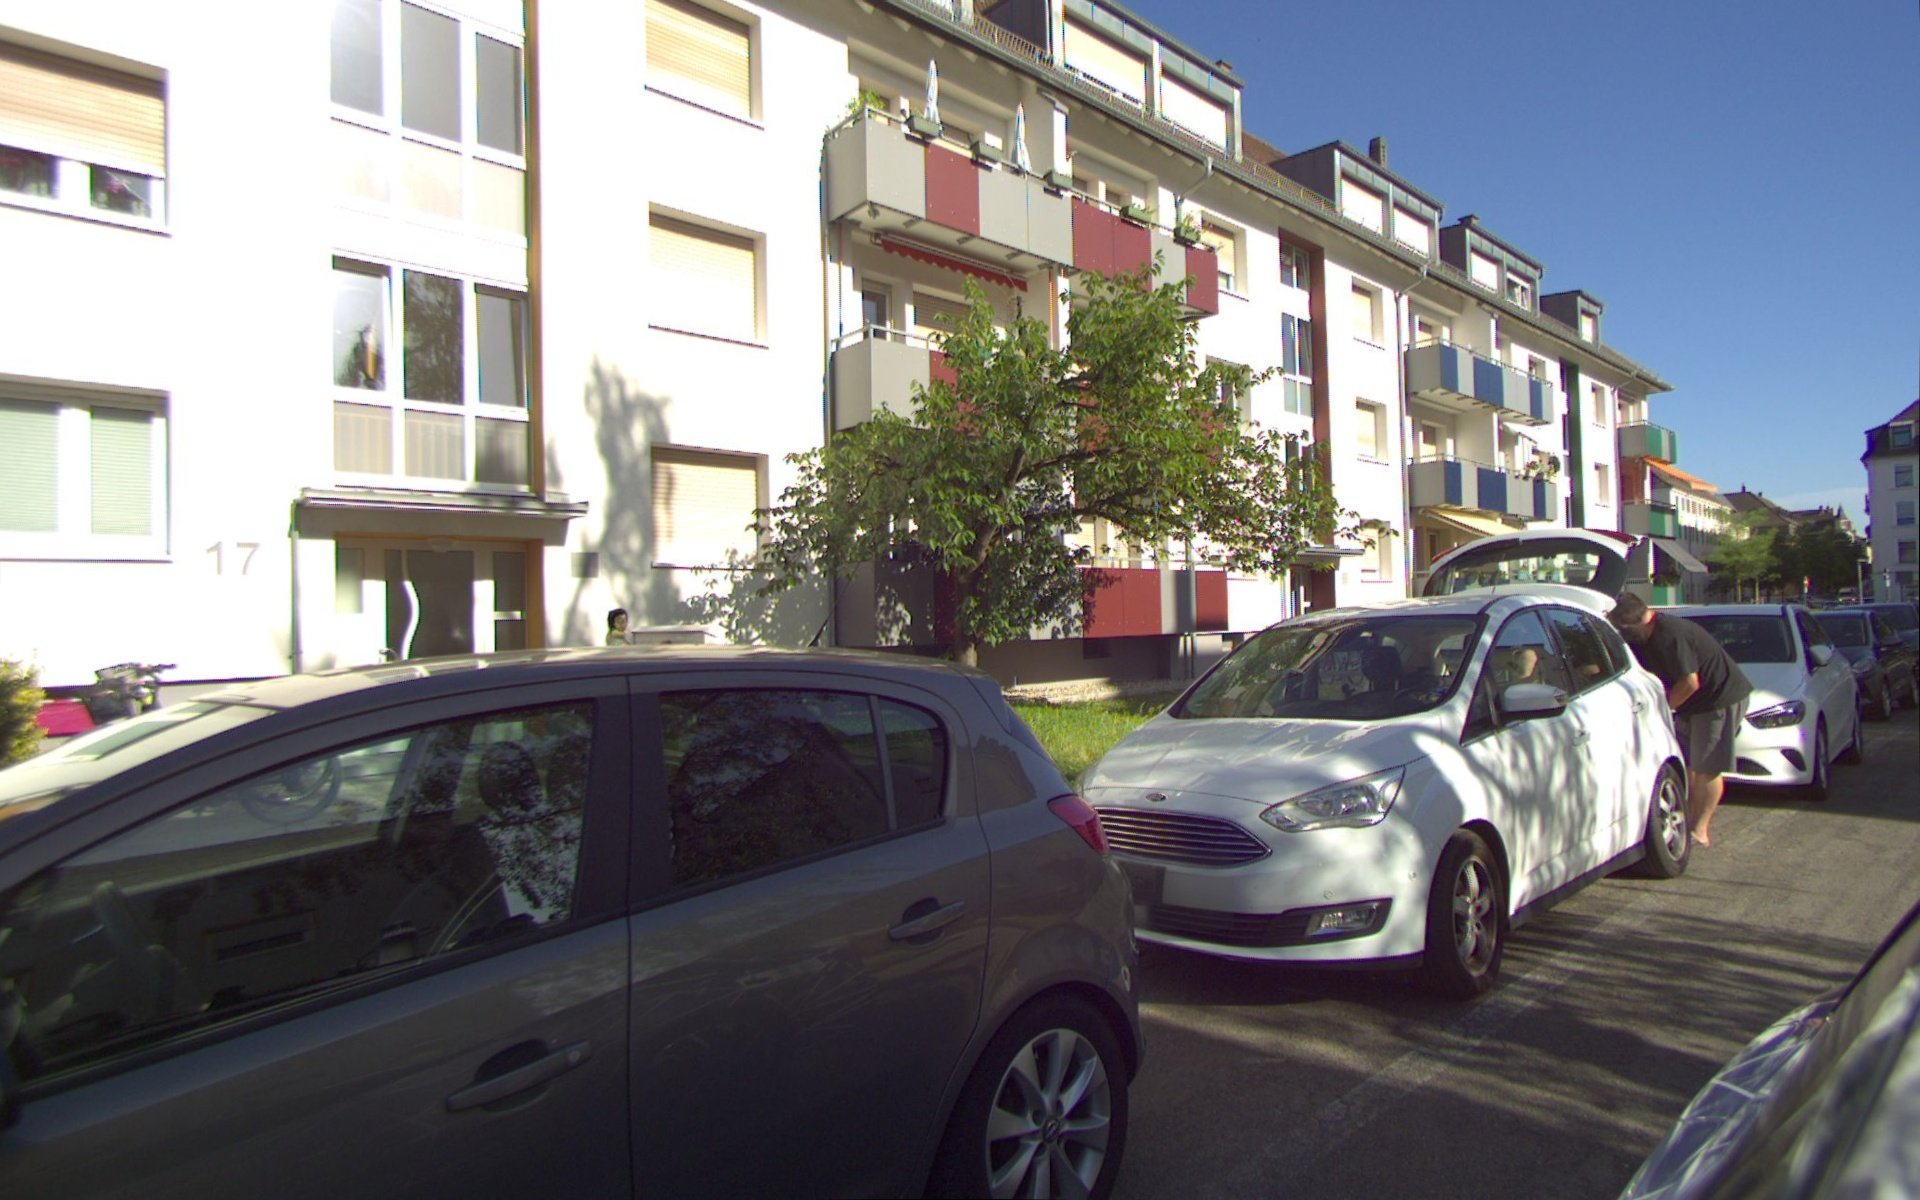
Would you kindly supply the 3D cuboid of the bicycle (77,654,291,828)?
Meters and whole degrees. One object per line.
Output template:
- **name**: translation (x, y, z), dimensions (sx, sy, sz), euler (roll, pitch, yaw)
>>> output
- **bicycle**: translation (-5.801, 1.013, 7.612), dimensions (1.250, 1.147, 0.403), euler (0, -1, -41)

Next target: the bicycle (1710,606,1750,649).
- **bicycle**: translation (21.481, 0.742, 28.233), dimensions (1.841, 1.147, 0.578), euler (0, 0, -42)

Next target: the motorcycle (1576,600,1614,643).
- **motorcycle**: translation (19.449, 0.635, 30.974), dimensions (1.942, 1.254, 0.442), euler (0, 0, -42)

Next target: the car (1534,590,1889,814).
- **car**: translation (6.895, 0.710, 9.086), dimensions (4.406, 1.524, 1.773), euler (0, -2, -43)

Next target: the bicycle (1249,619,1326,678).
- **bicycle**: translation (6.402, 0.918, 19.734), dimensions (1.940, 1.050, 0.521), euler (0, 0, -41)

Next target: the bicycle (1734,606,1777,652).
- **bicycle**: translation (21.397, 0.765, 27.204), dimensions (1.840, 1.185, 0.545), euler (0, 1, -40)

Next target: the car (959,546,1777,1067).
- **car**: translation (2.536, 0.682, 5.544), dimensions (4.906, 1.634, 1.997), euler (0, -3, -39)

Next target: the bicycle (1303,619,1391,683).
- **bicycle**: translation (7.162, 0.909, 18.647), dimensions (2.248, 1.062, 0.521), euler (0, 1, -41)

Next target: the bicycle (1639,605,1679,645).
- **bicycle**: translation (20.398, 0.716, 29.506), dimensions (1.841, 1.096, 0.539), euler (0, 2, -42)

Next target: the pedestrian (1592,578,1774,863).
- **pedestrian**: translation (4.469, 0.675, 6.254), dimensions (0.864, 1.595, 0.740), euler (0, -1, -42)

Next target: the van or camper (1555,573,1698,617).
- **van or camper**: translation (40.618, -0.255, 61.847), dimensions (2.138, 2.532, 6.978), euler (0, 0, -39)

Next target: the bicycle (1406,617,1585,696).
- **bicycle**: translation (8.572, 0.862, 16.337), dimensions (0.862, 1.144, 2.431), euler (0, 0, -35)

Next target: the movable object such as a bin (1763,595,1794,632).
- **movable object such as a bin**: translation (32.686, 0.543, 40.421), dimensions (0.864, 1.466, 0.907), euler (-1, -1, 45)

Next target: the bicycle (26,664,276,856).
- **bicycle**: translation (-5.376, 1.016, 6.784), dimensions (1.276, 1.100, 0.404), euler (0, 0, -41)

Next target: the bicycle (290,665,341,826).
- **bicycle**: translation (-4.692, 1.030, 7.358), dimensions (0.234, 1.060, 0.742), euler (0, 0, -38)

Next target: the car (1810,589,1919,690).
- **car**: translation (16.450, 0.606, 17.803), dimensions (4.279, 1.598, 1.725), euler (0, 0, -42)

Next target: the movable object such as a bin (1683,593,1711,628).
- **movable object such as a bin**: translation (33.342, 0.479, 45.773), dimensions (0.906, 1.539, 0.864), euler (0, -1, -43)

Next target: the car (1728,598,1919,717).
- **car**: translation (12.756, 0.762, 14.639), dimensions (3.987, 1.468, 1.650), euler (-1, -3, -39)

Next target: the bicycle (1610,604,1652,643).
- **bicycle**: translation (19.968, 0.688, 30.098), dimensions (1.841, 1.130, 0.597), euler (0, -1, -42)

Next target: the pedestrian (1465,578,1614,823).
- **pedestrian**: translation (4.323, 0.700, 7.562), dimensions (0.594, 1.709, 0.820), euler (0, -1, -41)

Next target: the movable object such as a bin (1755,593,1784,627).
- **movable object such as a bin**: translation (35.054, 0.415, 43.819), dimensions (0.864, 1.466, 0.907), euler (-1, -1, 45)

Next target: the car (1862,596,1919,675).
- **car**: translation (20.384, 0.678, 21.219), dimensions (3.788, 1.529, 1.714), euler (0, -4, -42)

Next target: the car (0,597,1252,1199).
- **car**: translation (-1.210, 0.797, 2.184), dimensions (3.916, 1.510, 1.695), euler (0, -3, -43)

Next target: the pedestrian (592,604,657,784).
- **pedestrian**: translation (-2.943, 0.802, 8.866), dimensions (0.354, 1.513, 0.451), euler (-2, 0, -40)

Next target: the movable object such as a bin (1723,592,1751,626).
- **movable object such as a bin**: translation (34.221, 0.381, 44.563), dimensions (0.864, 1.466, 0.907), euler (-1, -1, 45)
